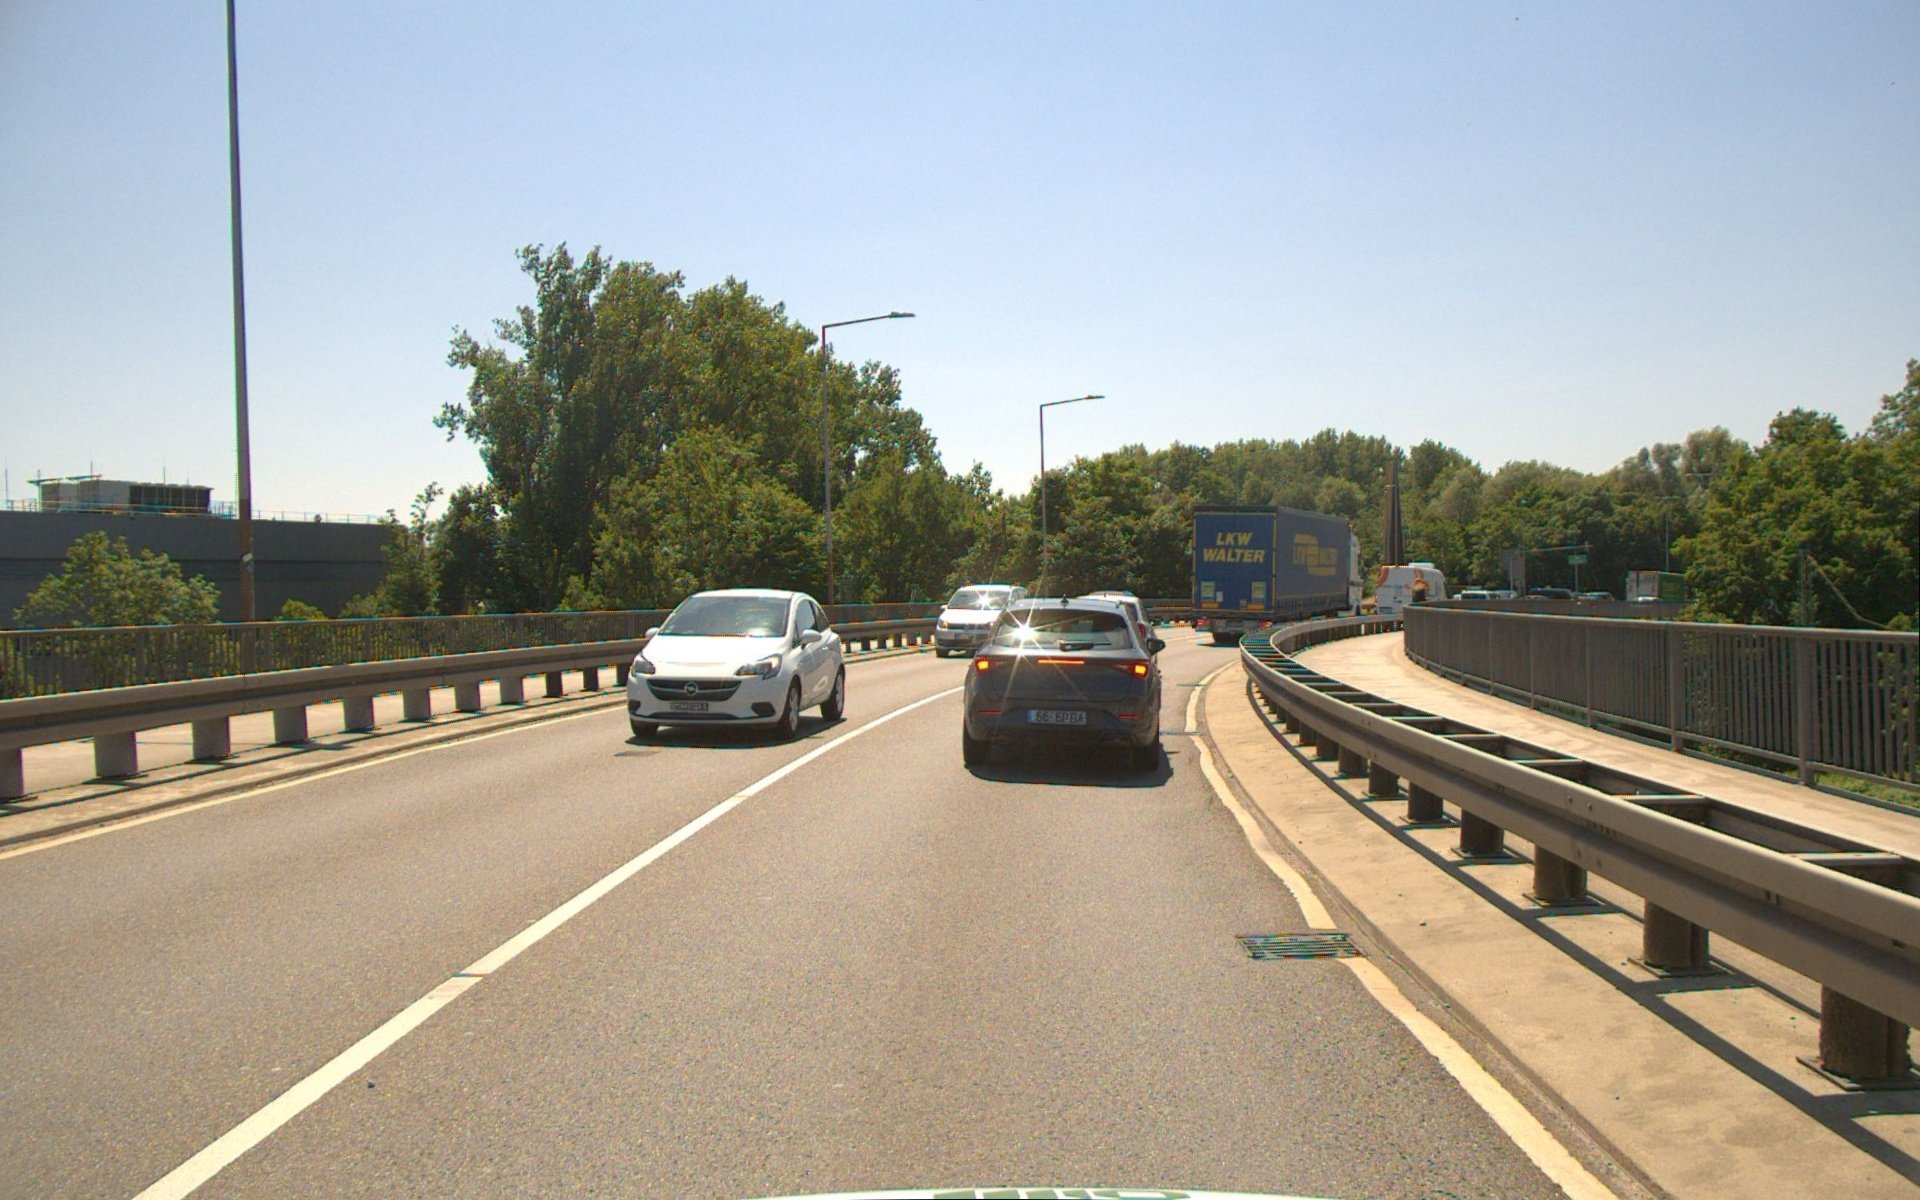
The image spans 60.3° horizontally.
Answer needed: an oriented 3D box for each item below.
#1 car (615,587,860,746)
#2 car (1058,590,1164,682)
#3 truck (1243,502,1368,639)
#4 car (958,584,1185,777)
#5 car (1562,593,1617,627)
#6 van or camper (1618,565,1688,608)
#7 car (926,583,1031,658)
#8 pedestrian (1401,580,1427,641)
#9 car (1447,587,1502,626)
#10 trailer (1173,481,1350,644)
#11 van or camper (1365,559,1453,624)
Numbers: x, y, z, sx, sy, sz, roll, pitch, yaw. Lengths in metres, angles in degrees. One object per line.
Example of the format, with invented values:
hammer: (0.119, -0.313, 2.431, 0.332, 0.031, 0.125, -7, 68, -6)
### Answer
car: (-2.258, 0.644, 17.806, 1.688, 1.509, 3.869, -1, 0, 7)
car: (2.724, 0.608, 29.257, 1.559, 1.486, 3.548, 1, 0, 10)
truck: (12.769, -0.980, 60.546, 3.106, 4.665, 7.394, 1, 0, 23)
car: (0.965, 0.630, 15.208, 1.807, 1.525, 3.759, 1, 1, 2)
car: (37.278, 0.600, 97.887, 1.859, 1.882, 3.979, 1, -1, 40)
van or camper: (47.678, -0.927, 113.715, 4.919, 2.331, 2.455, 6, 2, -43)
car: (0.494, 0.459, 38.790, 1.679, 1.643, 4.122, 0, 0, 12)
pedestrian: (15.028, 0.346, 54.721, 0.722, 2.002, 0.734, 1, -1, 21)
car: (25.673, 0.331, 82.459, 1.853, 1.882, 3.993, 1, 0, 29)
trailer: (10.152, -1.057, 54.159, 3.070, 4.695, 12.946, 1, 0, 22)
van or camper: (19.994, -0.384, 73.540, 2.163, 2.758, 5.911, 1, 1, 32)
